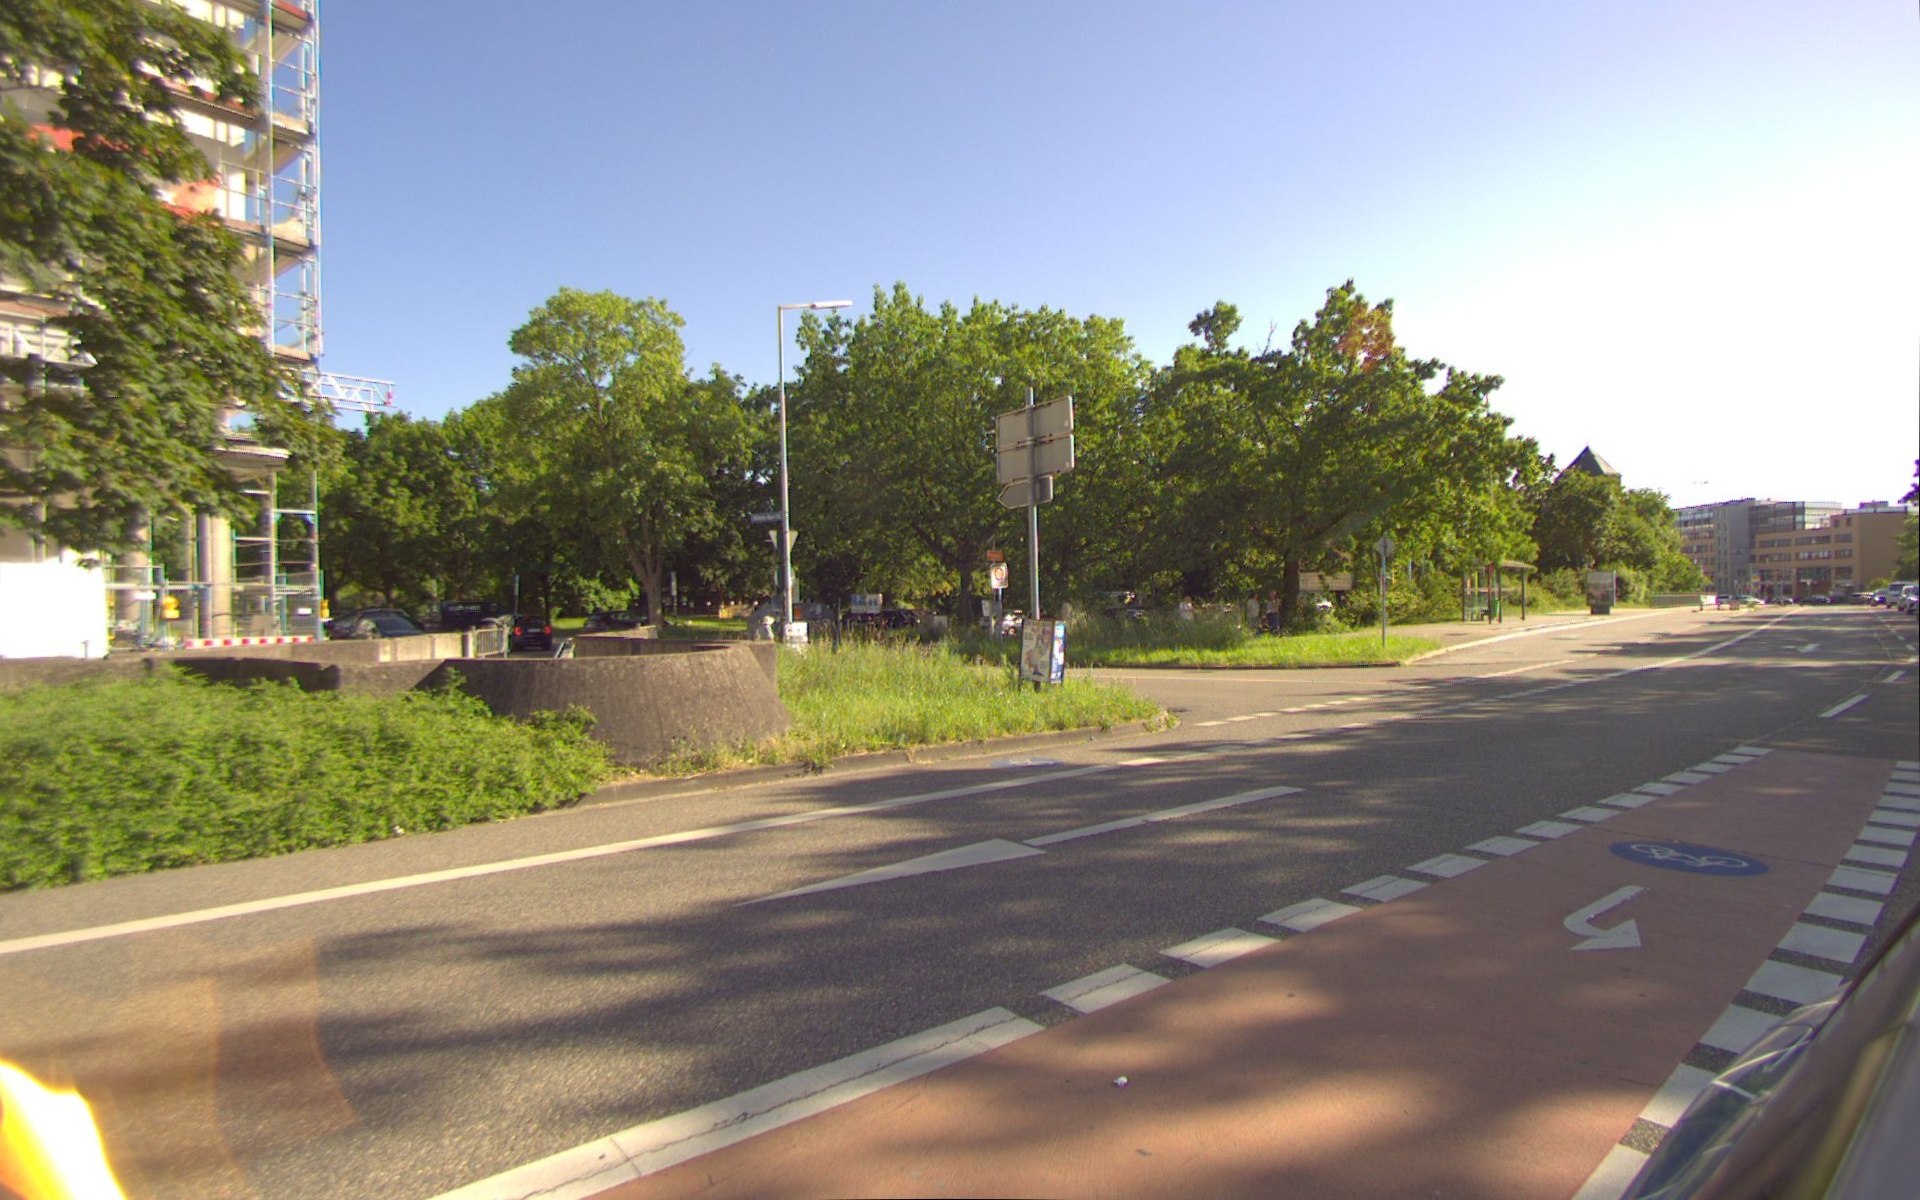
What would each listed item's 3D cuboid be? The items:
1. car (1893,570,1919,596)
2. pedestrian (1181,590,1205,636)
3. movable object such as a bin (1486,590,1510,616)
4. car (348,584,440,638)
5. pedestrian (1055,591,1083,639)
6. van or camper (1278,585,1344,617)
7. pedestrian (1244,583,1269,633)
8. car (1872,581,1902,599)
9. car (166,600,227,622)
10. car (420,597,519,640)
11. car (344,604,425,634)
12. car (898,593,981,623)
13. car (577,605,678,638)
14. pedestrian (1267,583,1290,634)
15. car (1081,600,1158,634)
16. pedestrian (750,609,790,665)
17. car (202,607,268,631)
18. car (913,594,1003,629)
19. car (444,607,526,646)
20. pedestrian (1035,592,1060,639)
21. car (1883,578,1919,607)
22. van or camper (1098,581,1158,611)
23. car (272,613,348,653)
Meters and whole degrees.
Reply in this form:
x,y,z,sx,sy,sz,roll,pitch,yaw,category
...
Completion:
x,y,z,sx,sy,sz,roll,pitch,yaw,category
66.850,-1.200,70.993,3.932,1.569,1.741,3,-4,-43,car
7.889,0.429,34.275,0.527,1.537,0.603,-2,-1,45,pedestrian
21.706,0.134,40.813,0.726,1.043,0.569,-1,0,42,movable object such as a bin
-22.660,0.433,40.479,3.981,2.039,1.971,-1,0,41,car
3.828,0.513,35.493,0.701,1.640,0.559,-3,-1,37,pedestrian
22.359,0.015,64.369,2.445,1.937,5.255,-1,0,38,van or camper
10.036,0.263,34.242,0.621,1.655,0.543,-1,-1,43,pedestrian
77.340,-0.843,84.453,1.823,1.492,3.939,-1,0,43,car
-66.900,0.966,88.727,1.990,1.677,3.944,-3,0,39,car
-25.918,0.946,53.585,1.994,2.099,4.282,-1,0,45,car
-35.382,1.159,62.270,1.992,1.677,3.939,-3,0,43,car
-0.986,0.385,47.477,3.629,1.290,1.603,-1,2,37,car
-15.231,0.990,46.434,3.931,1.314,1.997,-3,0,-40,car
10.760,0.292,34.184,0.602,1.722,0.404,-1,-1,42,pedestrian
8.837,0.949,55.756,1.752,1.773,4.700,-3,-4,44,car
-5.305,1.032,28.324,0.647,1.516,0.898,-2,0,34,pedestrian
-59.021,1.542,82.432,1.990,1.677,3.944,-3,0,39,car
-0.099,0.501,43.245,3.567,1.331,1.603,-1,2,37,car
-20.174,1.105,42.954,3.540,1.522,1.658,-1,0,37,car
3.121,0.548,36.037,0.595,1.640,0.559,-3,-1,37,pedestrian
48.843,-0.411,52.104,1.778,1.423,3.936,-1,0,45,car
12.794,-0.327,76.796,2.443,2.186,5.258,-1,0,36,van or camper
-30.021,1.519,46.719,3.984,1.683,1.970,-3,0,42,car
